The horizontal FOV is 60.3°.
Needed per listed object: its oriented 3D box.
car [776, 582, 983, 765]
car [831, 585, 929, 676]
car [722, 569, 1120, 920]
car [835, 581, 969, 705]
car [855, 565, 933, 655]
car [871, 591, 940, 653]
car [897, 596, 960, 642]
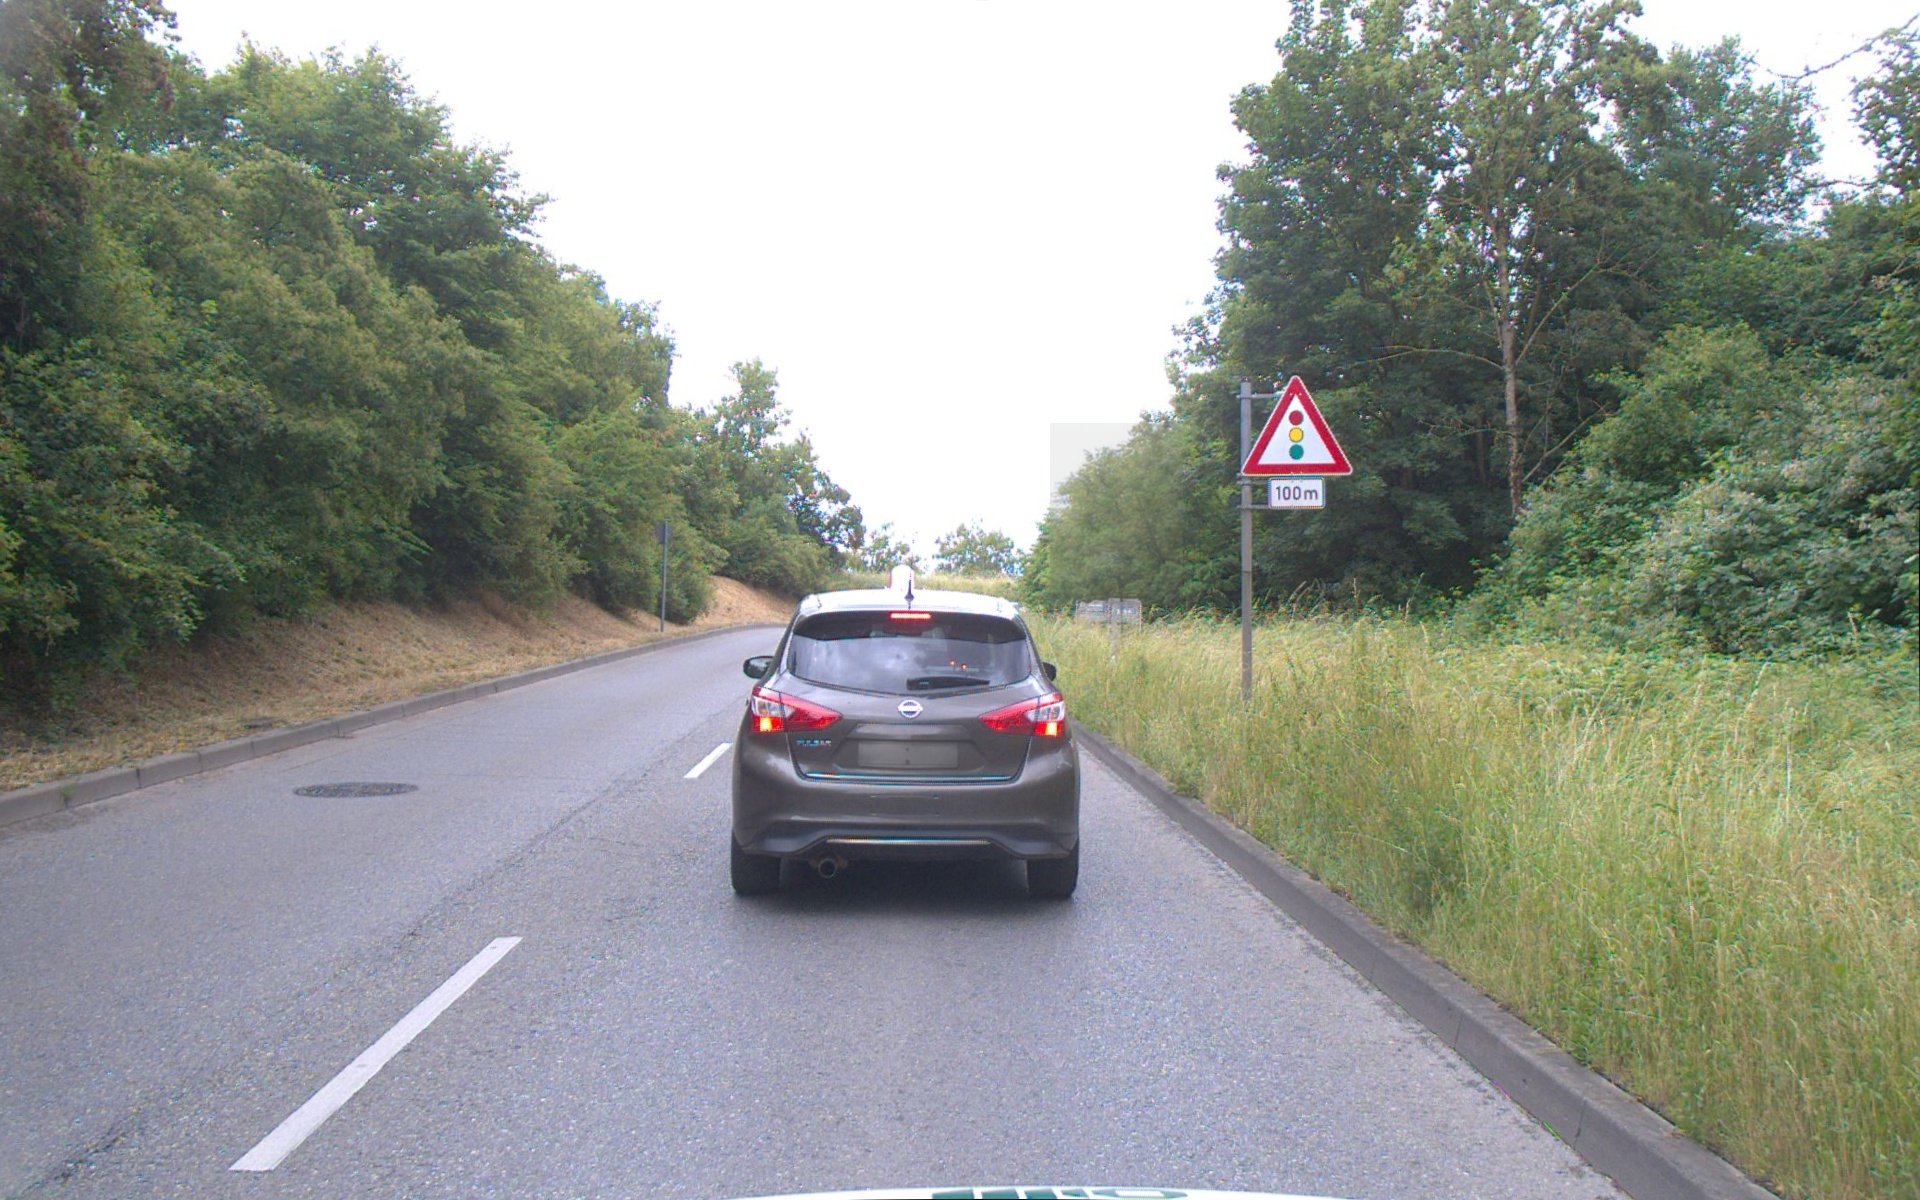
[{"bbox_3d":[-0.733,0.628,16.164,1.793,1.583,3.623,0,0,-1],"label":"car"},{"bbox_3d":[-1.432,0.517,30.458,1.701,1.583,3.542,0,0,-1],"label":"car"},{"bbox_3d":[-0.271,0.656,9.297,1.794,1.583,3.497,1,0,-3],"label":"car"},{"bbox_3d":[-0.775,0.536,22.809,1.701,1.583,3.542,0,0,-1],"label":"car"},{"bbox_3d":[-1.459,0.209,37.653,1.700,1.968,3.543,0,0,-1],"label":"car"},{"bbox_3d":[-1.433,0.533,42.980,1.701,1.553,3.542,0,0,-3],"label":"car"},{"bbox_3d":[-1.063,0.639,57.819,1.699,1.553,3.644,0,0,7],"label":"car"}]
